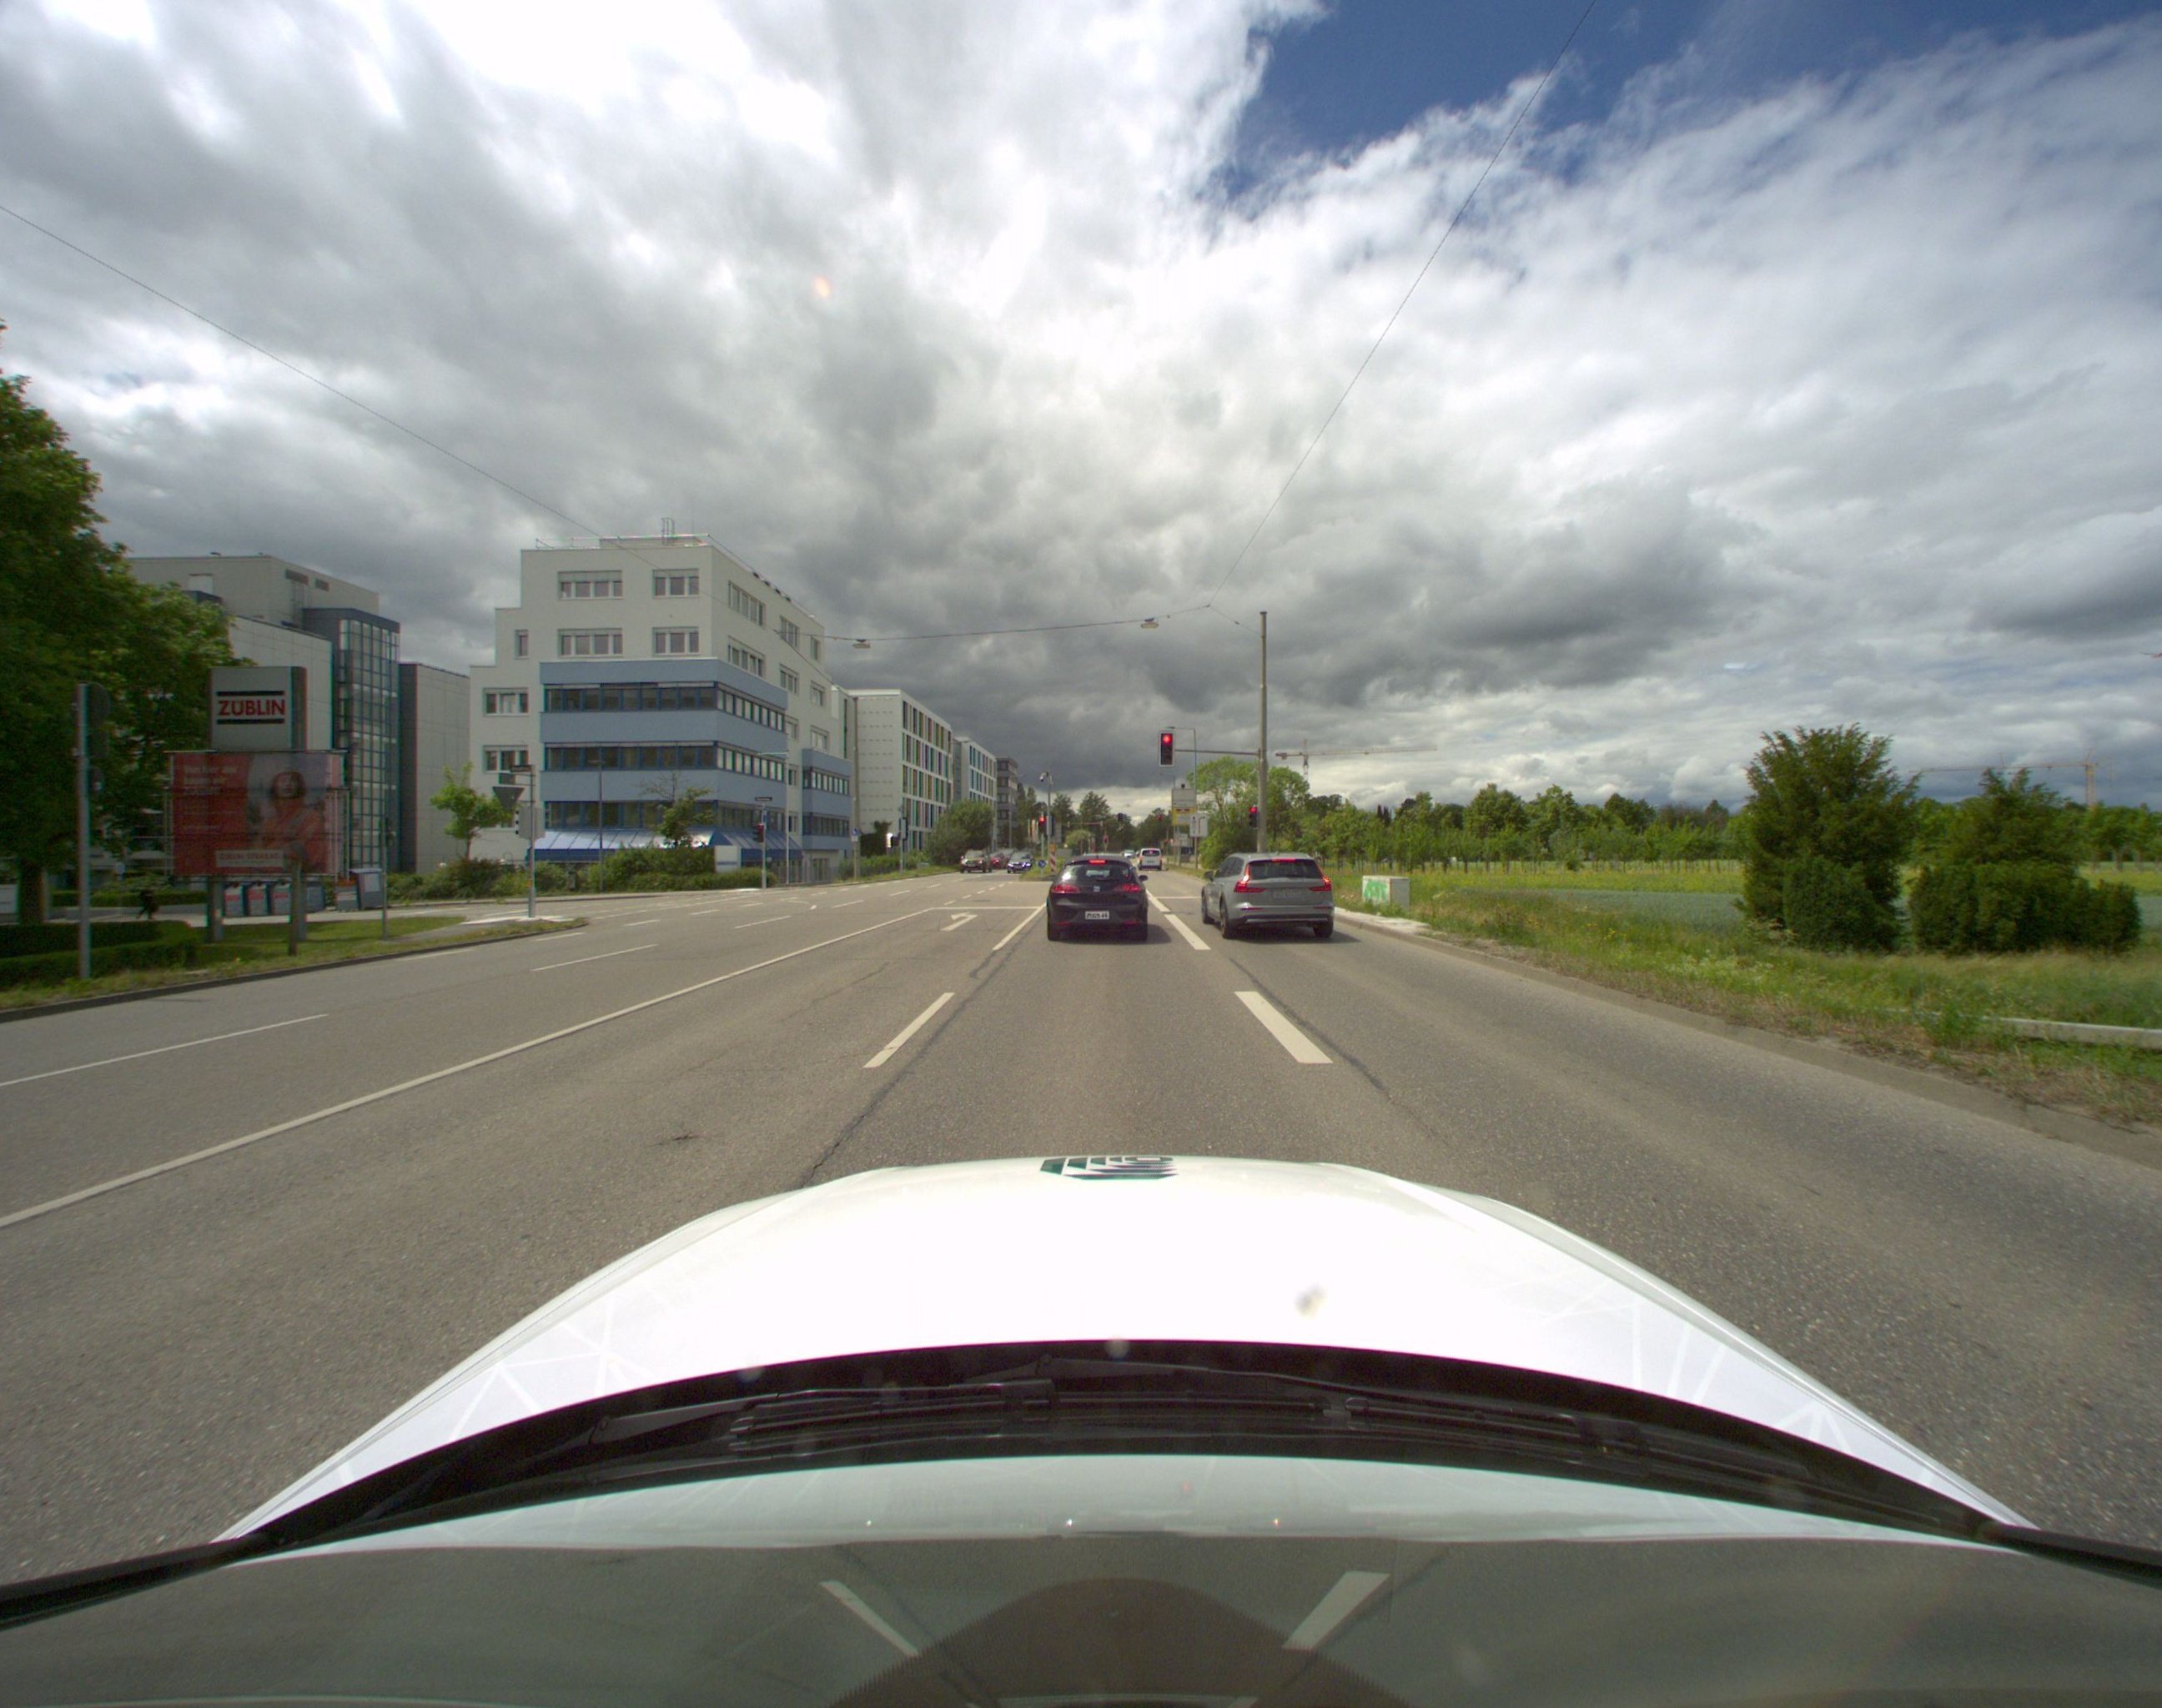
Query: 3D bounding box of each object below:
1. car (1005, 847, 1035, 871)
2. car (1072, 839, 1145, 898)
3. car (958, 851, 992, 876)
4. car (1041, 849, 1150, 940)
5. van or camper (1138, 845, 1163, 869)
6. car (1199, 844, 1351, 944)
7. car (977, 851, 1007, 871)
[{"bbox_3d":[-4.216,0.322,56.868,1.662,1.524,4.010,-3,1,1],"label":"car"},{"bbox_3d":[0.785,0.386,24.305,1.976,1.590,4.226,0,0,1],"label":"car"},{"bbox_3d":[-7.516,0.649,58.037,1.745,1.631,4.001,-2,0,1],"label":"car"},{"bbox_3d":[0.399,0.675,15.241,1.739,1.484,4.005,0,0,5],"label":"car"},{"bbox_3d":[5.843,0.269,68.894,1.892,1.926,4.002,-1,0,2],"label":"van or camper"},{"bbox_3d":[3.416,0.653,15.193,1.950,1.525,4.343,-2,-1,3],"label":"car"},{"bbox_3d":[-7.391,0.549,67.913,1.767,1.612,4.005,-1,0,5],"label":"car"}]
